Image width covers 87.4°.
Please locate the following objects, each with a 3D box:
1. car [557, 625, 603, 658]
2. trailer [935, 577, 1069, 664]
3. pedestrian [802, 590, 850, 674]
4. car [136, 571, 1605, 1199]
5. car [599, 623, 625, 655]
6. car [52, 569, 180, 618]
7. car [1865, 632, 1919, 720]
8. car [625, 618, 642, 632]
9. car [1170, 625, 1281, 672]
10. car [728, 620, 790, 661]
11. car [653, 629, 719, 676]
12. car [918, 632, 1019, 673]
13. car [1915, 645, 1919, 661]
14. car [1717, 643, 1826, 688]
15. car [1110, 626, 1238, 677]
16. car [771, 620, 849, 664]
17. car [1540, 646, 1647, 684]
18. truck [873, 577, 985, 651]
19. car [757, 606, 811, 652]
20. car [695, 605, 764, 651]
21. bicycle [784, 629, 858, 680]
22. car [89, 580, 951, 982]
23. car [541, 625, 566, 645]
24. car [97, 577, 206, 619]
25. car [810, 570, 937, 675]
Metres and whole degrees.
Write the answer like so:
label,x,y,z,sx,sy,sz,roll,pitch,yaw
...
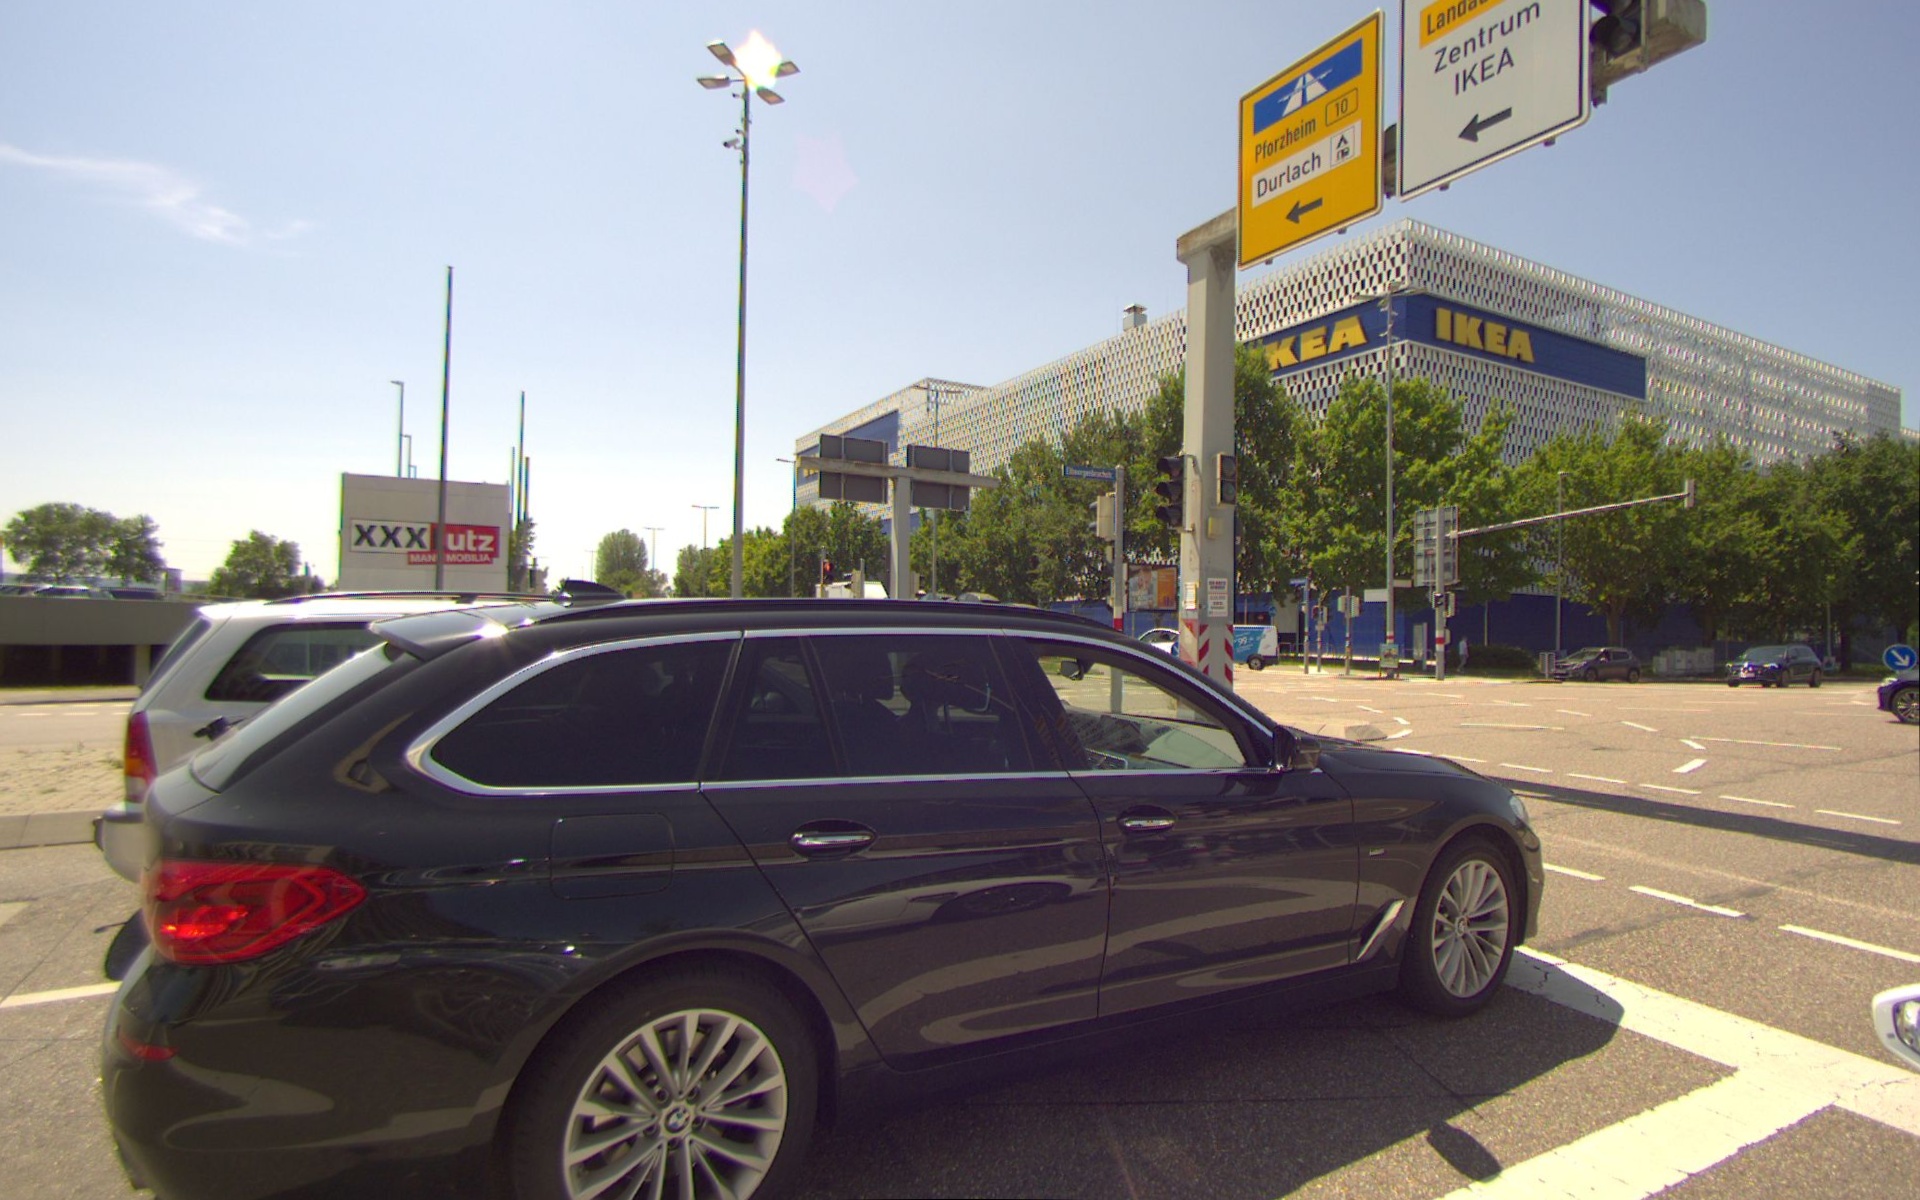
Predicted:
label,x,y,z,sx,sy,sz,roll,pitch,yaw
car,-23.859,2.580,63.007,1.815,2.040,3.963,2,-2,-34
trailer,1.987,1.167,52.931,3.052,4.135,9.587,2,-3,-24
pedestrian,-3.321,0.793,24.883,0.856,2.040,0.899,1,-2,-35
car,0.165,0.746,3.599,4.570,1.485,1.791,1,-1,-31
car,-23.559,2.614,67.941,1.594,2.040,3.863,1,-2,-20
car,-36.861,-0.232,44.011,3.953,1.957,1.984,2,-2,-30
car,16.857,1.230,15.366,1.646,1.429,4.218,2,-2,-19
car,-48.066,3.666,147.787,1.971,2.040,3.979,2,-2,-22
car,12.140,2.207,45.919,4.672,2.034,2.000,0,-2,22
car,-10.635,2.139,52.996,1.975,2.040,4.681,2,-2,-27
car,-9.571,1.809,34.877,1.904,1.528,3.982,1,-2,-20
car,0.236,1.872,36.671,1.756,1.360,4.262,1,-2,-30
car,115.495,6.291,119.490,3.990,1.835,1.979,1,1,-36
car,31.574,2.539,39.059,4.444,1.619,1.866,2,-3,-30
car,7.300,1.735,34.699,1.972,1.609,4.668,2,-2,-24
car,-6.795,1.852,45.024,1.973,1.835,5.438,1,-2,-25
car,27.959,2.858,44.389,3.682,1.553,1.776,2,-2,-3
truck,-2.139,1.000,62.167,3.058,4.136,10.590,2,-3,-24
car,-10.621,1.719,60.303,2.032,2.665,4.652,0,-2,-26
car,-13.859,1.688,60.043,2.542,2.568,6.587,2,-2,-26
bicycle,-3.497,1.337,25.103,0.987,1.229,2.079,2,-2,-35
car,-2.177,0.737,5.689,3.961,1.514,1.785,2,-1,-36
car,-36.362,3.102,89.865,1.718,1.708,3.642,2,-2,-28
car,-40.312,-0.042,50.189,3.956,1.933,1.983,2,-2,-32
car,-3.388,0.834,37.563,2.156,3.532,6.875,0,-1,-28
